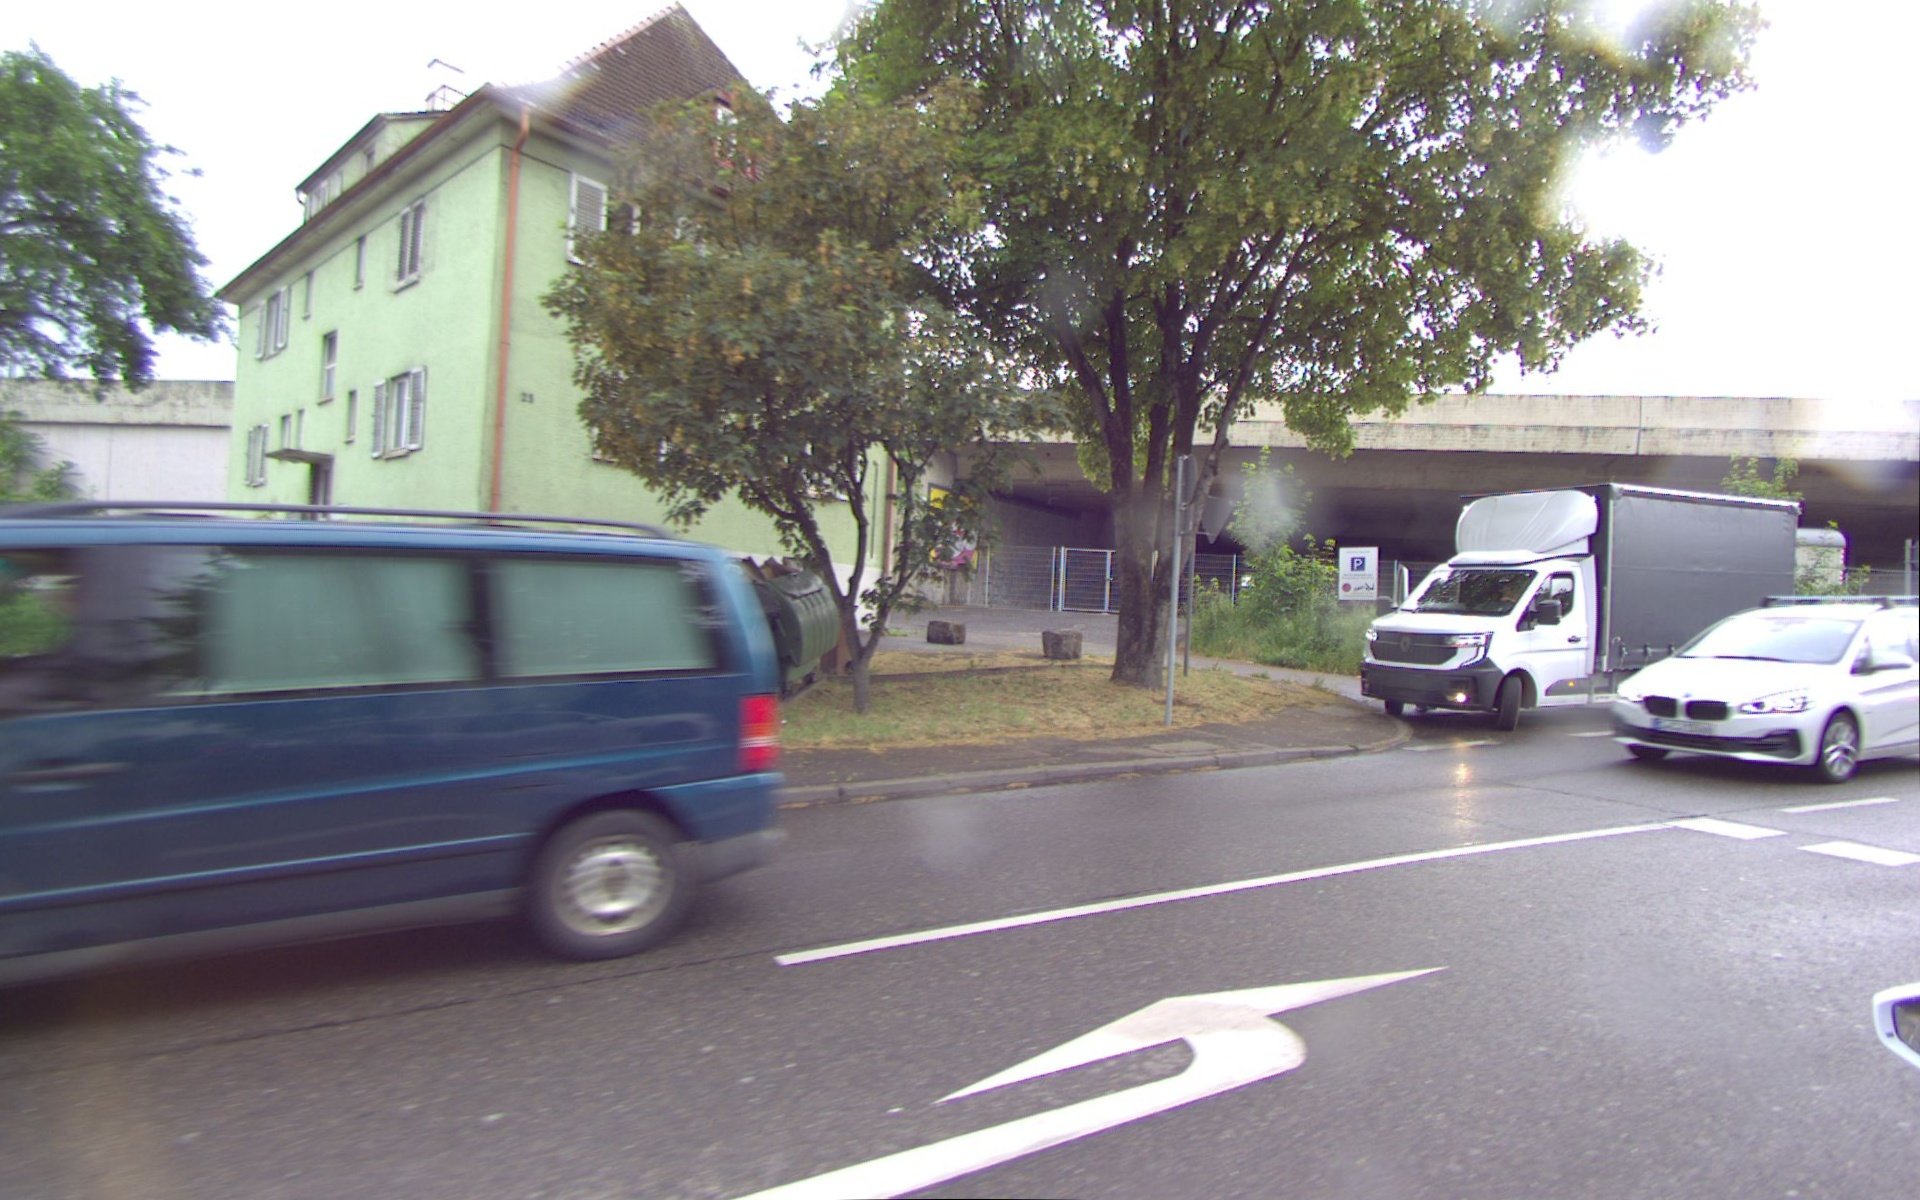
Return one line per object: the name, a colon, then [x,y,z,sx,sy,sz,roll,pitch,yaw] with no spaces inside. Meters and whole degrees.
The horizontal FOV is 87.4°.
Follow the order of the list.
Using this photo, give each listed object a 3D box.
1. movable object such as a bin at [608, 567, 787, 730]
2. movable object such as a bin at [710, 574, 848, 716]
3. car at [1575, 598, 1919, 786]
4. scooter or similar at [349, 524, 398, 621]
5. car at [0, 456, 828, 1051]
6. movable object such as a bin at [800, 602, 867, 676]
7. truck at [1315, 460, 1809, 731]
movable object such as a bin: [-2.767,0.455,10.759,1.268,1.457,1.462,4,6,15]
movable object such as a bin: [-2.146,0.486,12.100,1.078,1.457,1.462,4,6,15]
car: [8.671,0.805,10.427,4.274,1.600,1.826,0,1,-25]
scooter or similar: [-8.471,-0.419,14.479,0.524,1.291,1.511,2,3,-32]
car: [-3.116,0.521,4.444,4.627,1.957,1.949,2,-1,-30]
movable object such as a bin: [-1.711,0.525,13.566,0.714,0.970,0.554,2,0,-28]
truck: [9.166,0.043,15.064,7.674,3.280,2.601,2,0,-26]
